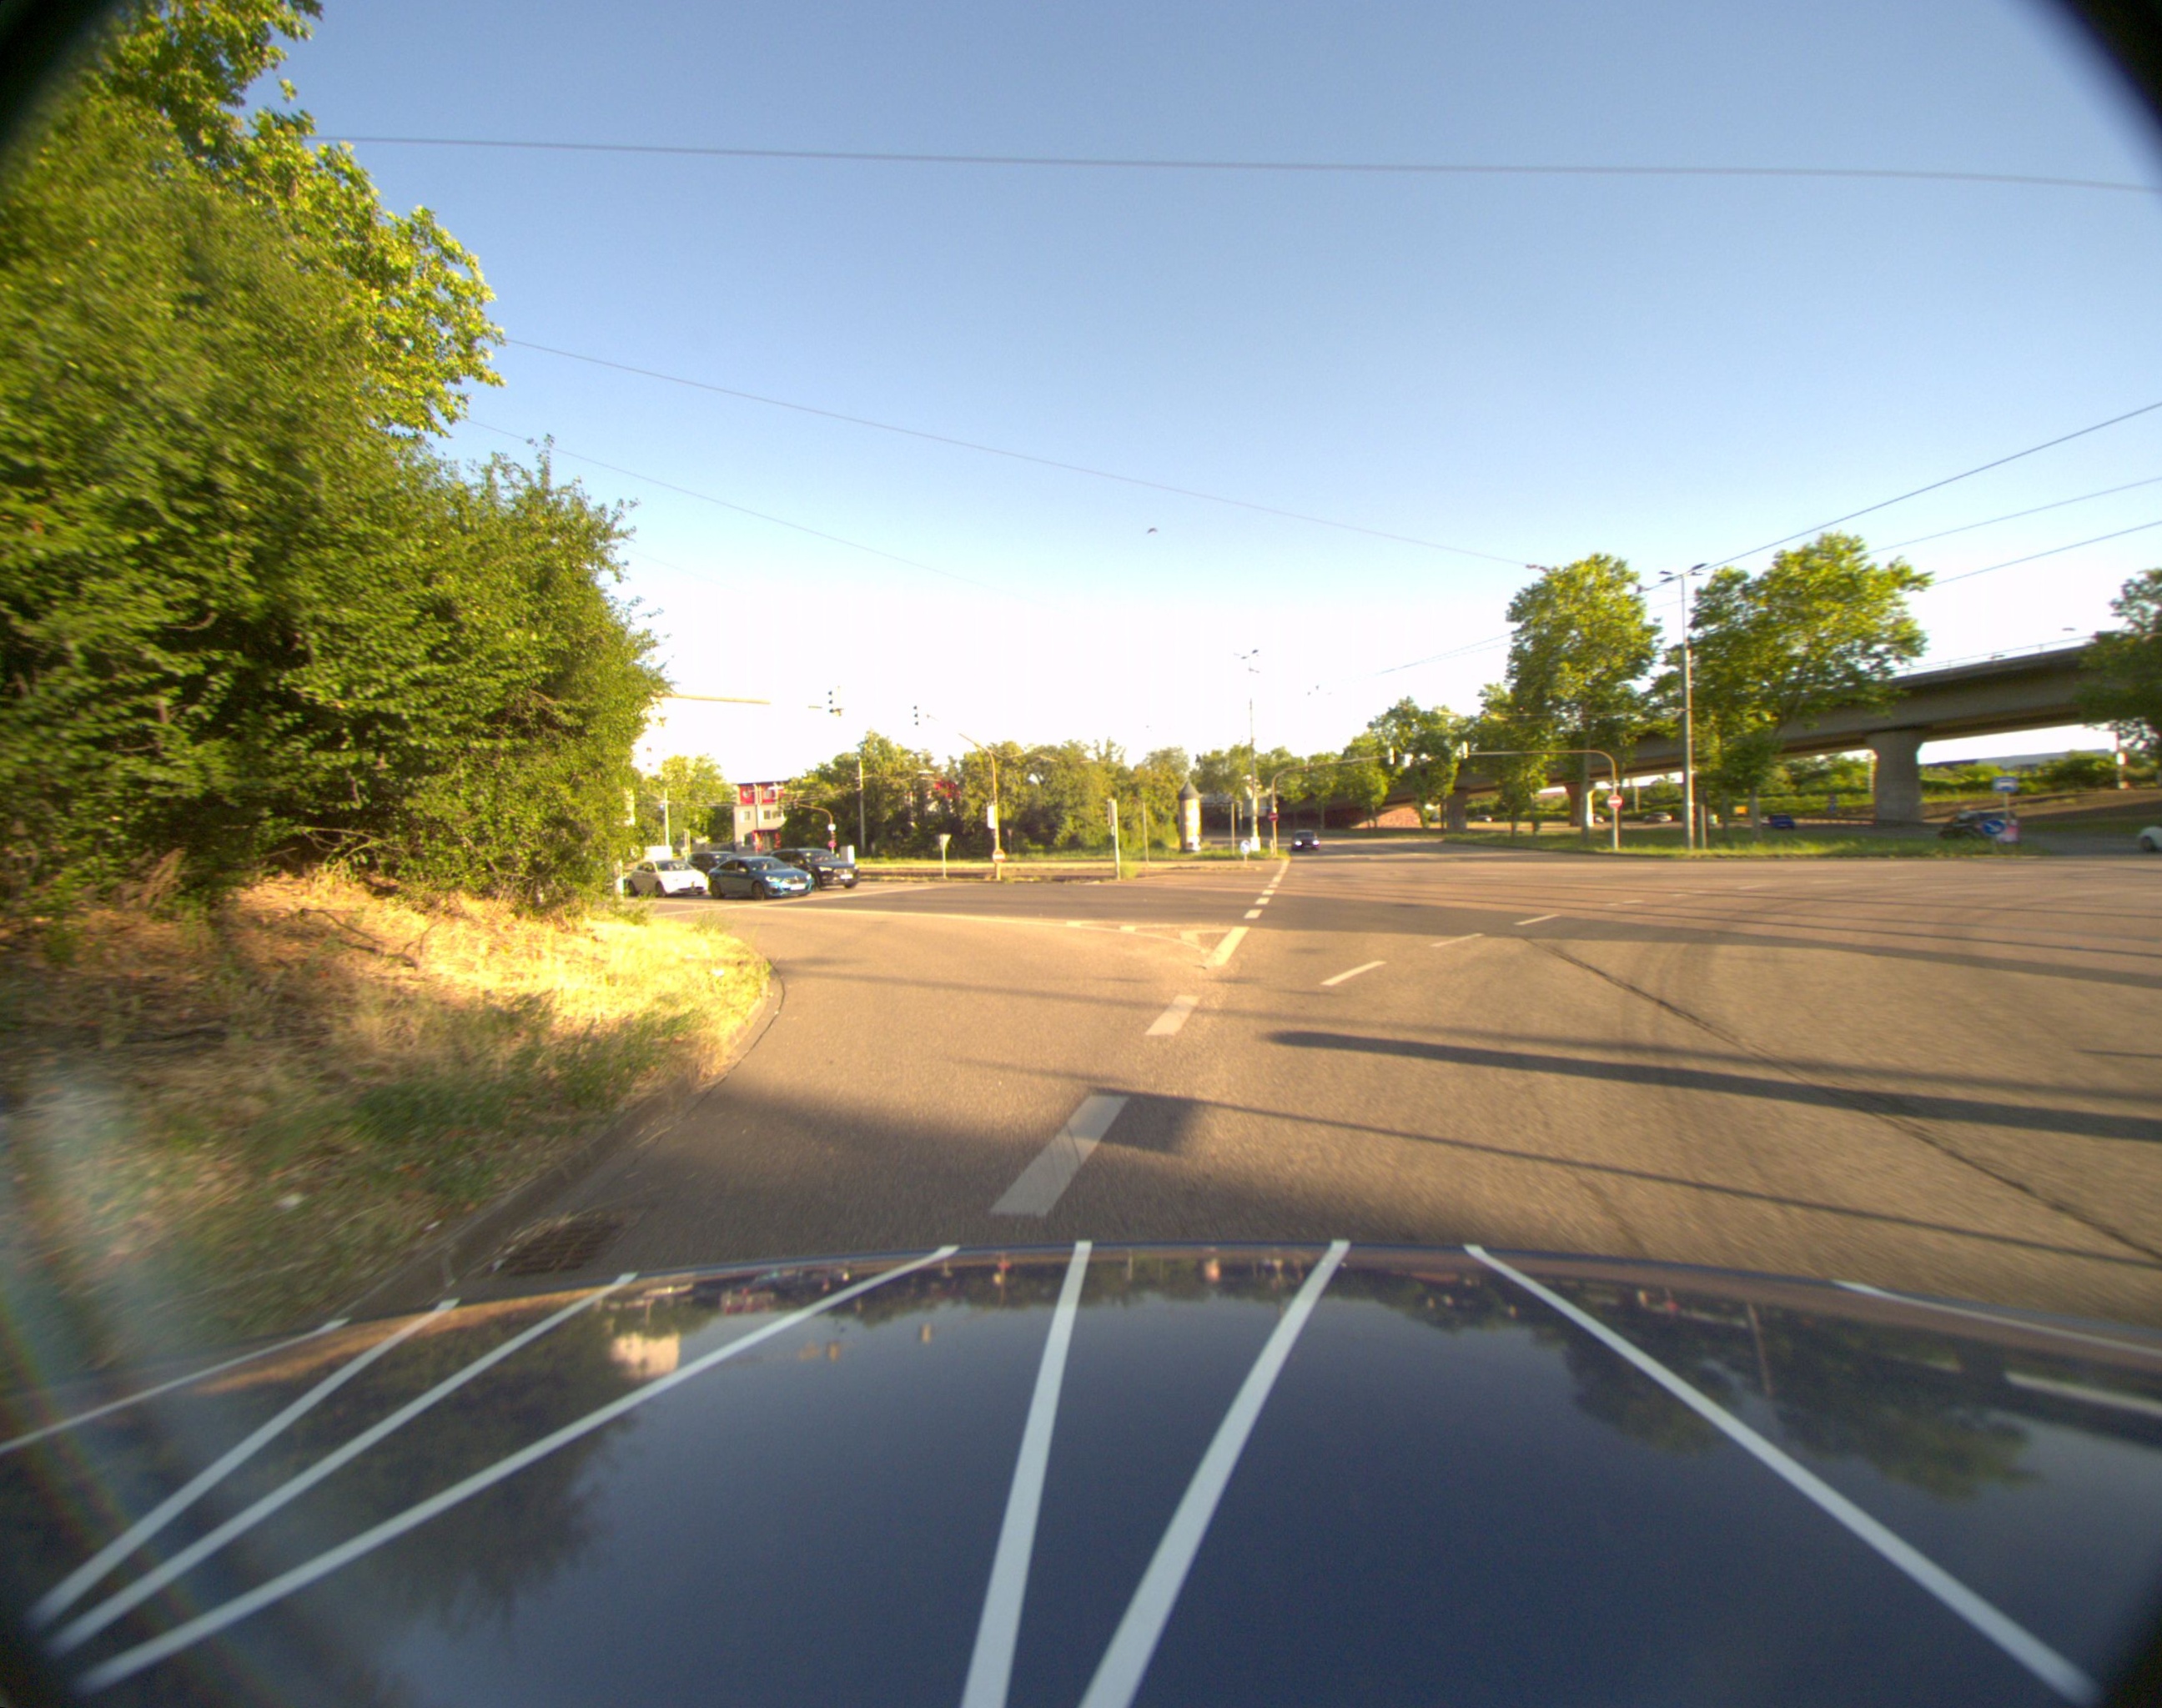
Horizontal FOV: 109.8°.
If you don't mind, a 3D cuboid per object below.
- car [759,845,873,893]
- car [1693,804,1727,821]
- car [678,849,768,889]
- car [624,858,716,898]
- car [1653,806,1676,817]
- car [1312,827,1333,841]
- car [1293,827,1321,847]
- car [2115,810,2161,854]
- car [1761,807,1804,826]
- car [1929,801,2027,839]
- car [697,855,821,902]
[{"bbox_3d":[-10.374,0.560,29.651,4.588,1.672,1.925,-1,2,37],"label":"car"},{"bbox_3d":[73.989,-4.894,89.402,1.995,1.895,4.712,-1,2,26],"label":"car"},{"bbox_3d":[-16.411,0.681,34.782,4.588,1.639,1.925,-1,2,40],"label":"car"},{"bbox_3d":[-16.205,0.914,29.909,3.913,1.422,1.669,-1,2,37],"label":"car"},{"bbox_3d":[80.702,-5.889,105.144,1.693,1.414,3.738,-1,2,23],"label":"car"},{"bbox_3d":[26.521,-2.175,83.536,1.996,1.477,4.004,-2,1,17],"label":"car"},{"bbox_3d":[18.914,-1.411,63.796,1.996,1.477,4.004,-2,1,14],"label":"car"},{"bbox_3d":[40.876,-0.828,27.637,1.852,1.600,4.313,-1,2,22],"label":"car"},{"bbox_3d":[64.396,-3.428,69.820,1.995,1.550,3.941,-1,2,28],"label":"car"},{"bbox_3d":[47.365,-1.801,40.246,1.852,1.856,4.152,-1,2,26],"label":"car"},{"bbox_3d":[-11.124,0.811,26.149,4.500,1.409,1.793,-1,2,36],"label":"car"}]
